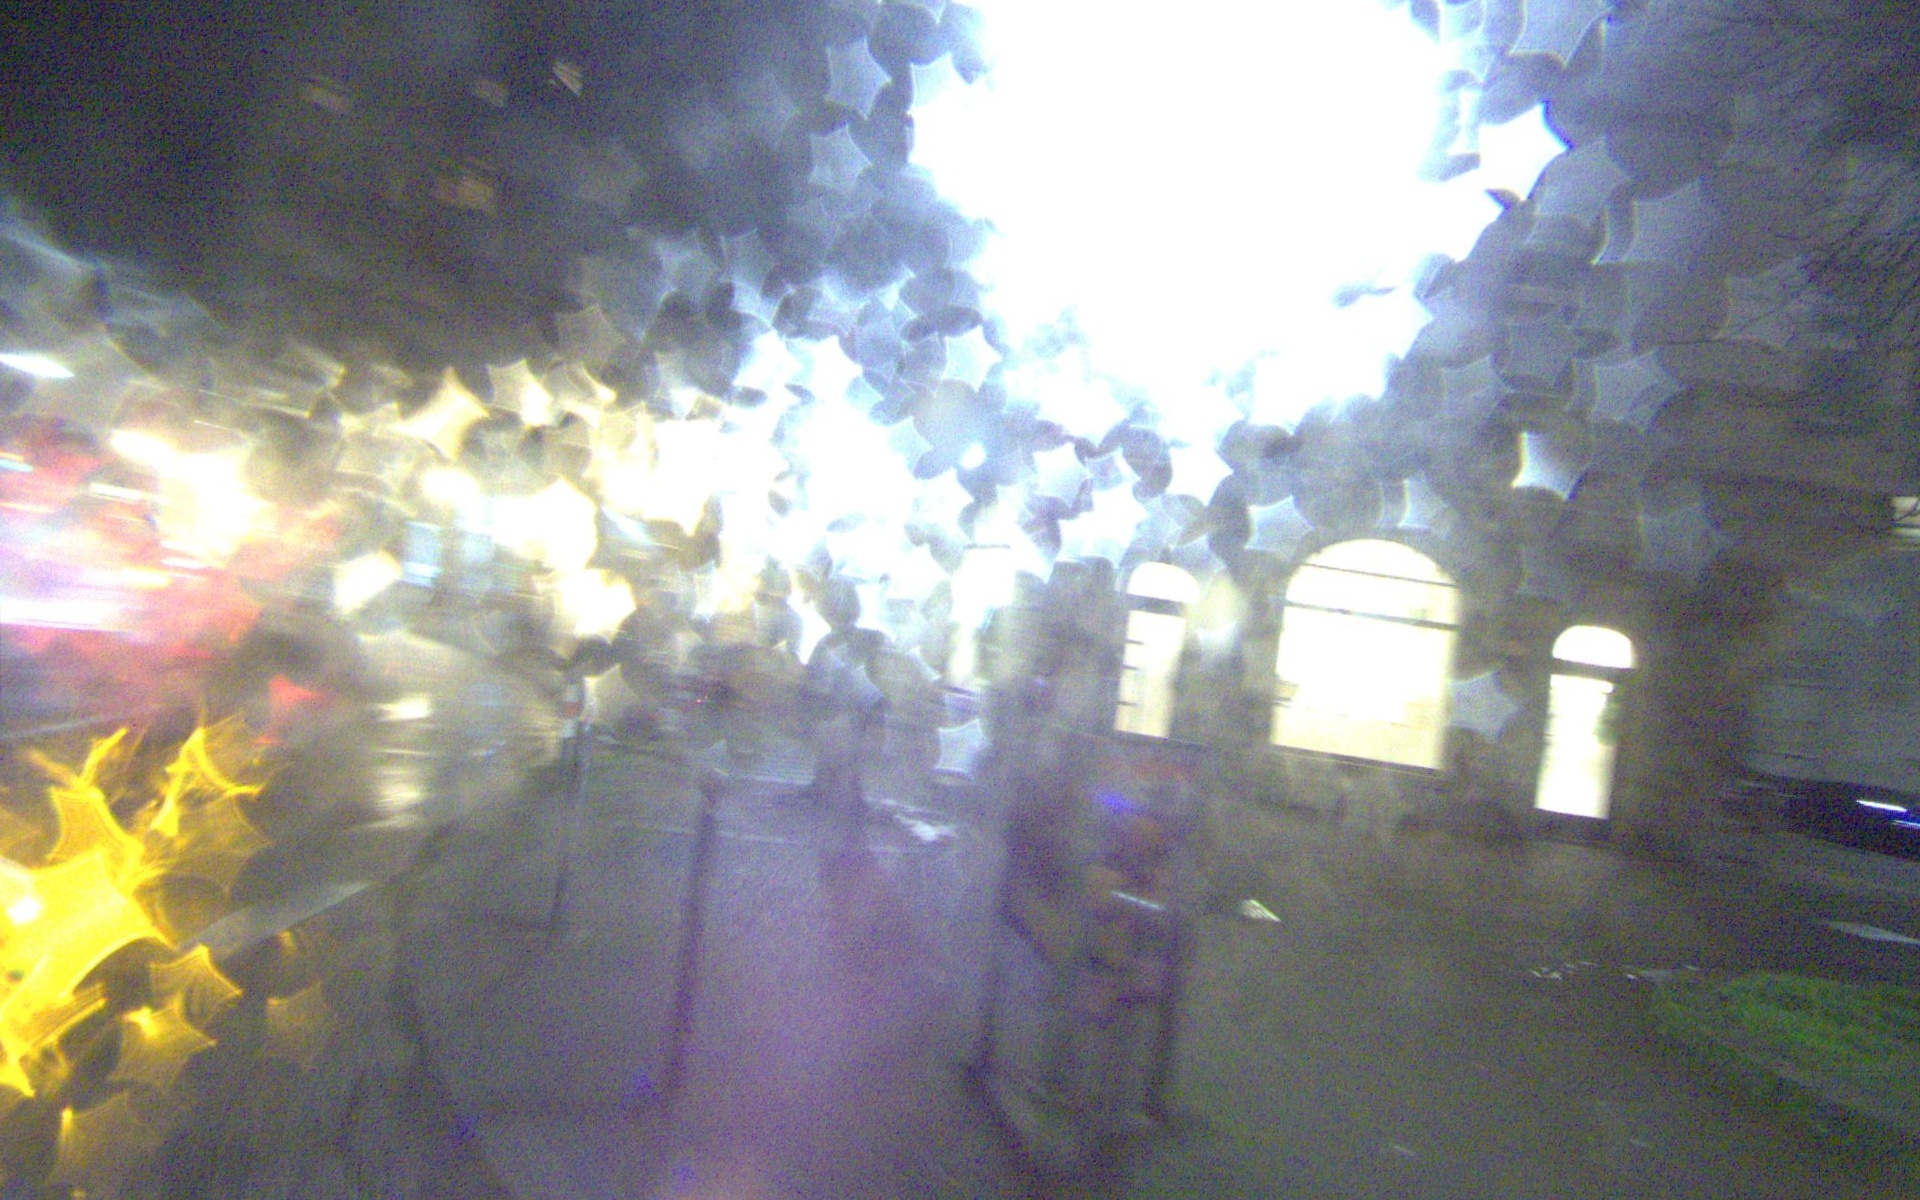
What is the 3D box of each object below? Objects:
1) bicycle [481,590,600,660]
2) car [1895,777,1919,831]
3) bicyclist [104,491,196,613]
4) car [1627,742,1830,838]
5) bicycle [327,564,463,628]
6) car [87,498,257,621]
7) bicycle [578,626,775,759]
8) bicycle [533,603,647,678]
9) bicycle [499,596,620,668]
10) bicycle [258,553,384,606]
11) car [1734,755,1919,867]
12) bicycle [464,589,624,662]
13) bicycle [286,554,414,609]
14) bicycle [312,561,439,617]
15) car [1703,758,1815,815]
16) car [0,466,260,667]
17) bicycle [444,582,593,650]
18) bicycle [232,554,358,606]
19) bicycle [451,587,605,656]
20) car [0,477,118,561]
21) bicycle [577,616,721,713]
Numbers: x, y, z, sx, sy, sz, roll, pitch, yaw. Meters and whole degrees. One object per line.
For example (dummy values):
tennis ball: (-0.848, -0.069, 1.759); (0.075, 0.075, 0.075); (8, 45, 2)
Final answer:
bicycle: (-7.960, 0.486, 19.138); (1.921, 1.071, 0.446); (10, -1, -36)
car: (28.539, 6.011, 28.131); (1.580, 1.474, 3.420); (8, -2, 5)
bicyclist: (-12.311, -0.713, 15.324); (0.792, 1.692, 0.702); (10, -4, -33)
car: (21.651, 5.288, 28.653); (1.966, 1.762, 4.697); (8, -2, 0)
bicycle: (-13.899, -0.074, 24.805); (2.753, 1.142, 0.718); (10, -2, -35)
car: (-14.536, -0.719, 18.484); (1.989, 1.746, 3.954); (11, -5, -42)
bicycle: (-2.711, 0.904, 9.695); (1.647, 1.071, 0.447); (9, -1, -31)
bicycle: (-6.470, 0.711, 17.636); (1.718, 1.071, 0.447); (9, -1, -31)
bicycle: (-7.421, 0.601, 18.683); (1.921, 1.071, 0.446); (10, -1, -36)
bicycle: (-17.226, -0.528, 27.220); (0.713, 1.038, 2.773); (7, -3, 32)
car: (20.592, 4.826, 23.008); (1.966, 1.762, 4.697); (8, -2, 0)
bicycle: (-8.192, 0.531, 19.913); (2.753, 1.038, 0.718); (10, -2, -35)
bicycle: (-16.002, -0.465, 26.481); (0.713, 1.038, 2.773); (7, -3, 32)
bicycle: (-14.947, -0.251, 25.851); (0.712, 1.038, 2.776); (8, -2, 27)
car: (30.281, 7.028, 38.258); (1.580, 1.474, 3.420); (8, -2, 5)
car: (-9.017, -0.293, 10.775); (1.716, 1.630, 3.444); (10, -5, -25)
bicycle: (-9.431, 0.365, 21.574); (2.753, 1.038, 0.718); (10, -2, -35)
bicycle: (-18.331, -0.525, 27.815); (0.713, 1.038, 2.773); (7, -3, 32)
bicycle: (-8.928, 0.465, 20.889); (2.753, 1.038, 0.718); (10, -2, -35)
car: (-25.106, -2.247, 27.128); (3.928, 1.746, 2.003); (6, -4, 24)
bicycle: (-4.122, 0.867, 13.380); (1.647, 1.071, 0.447); (9, -1, -31)
